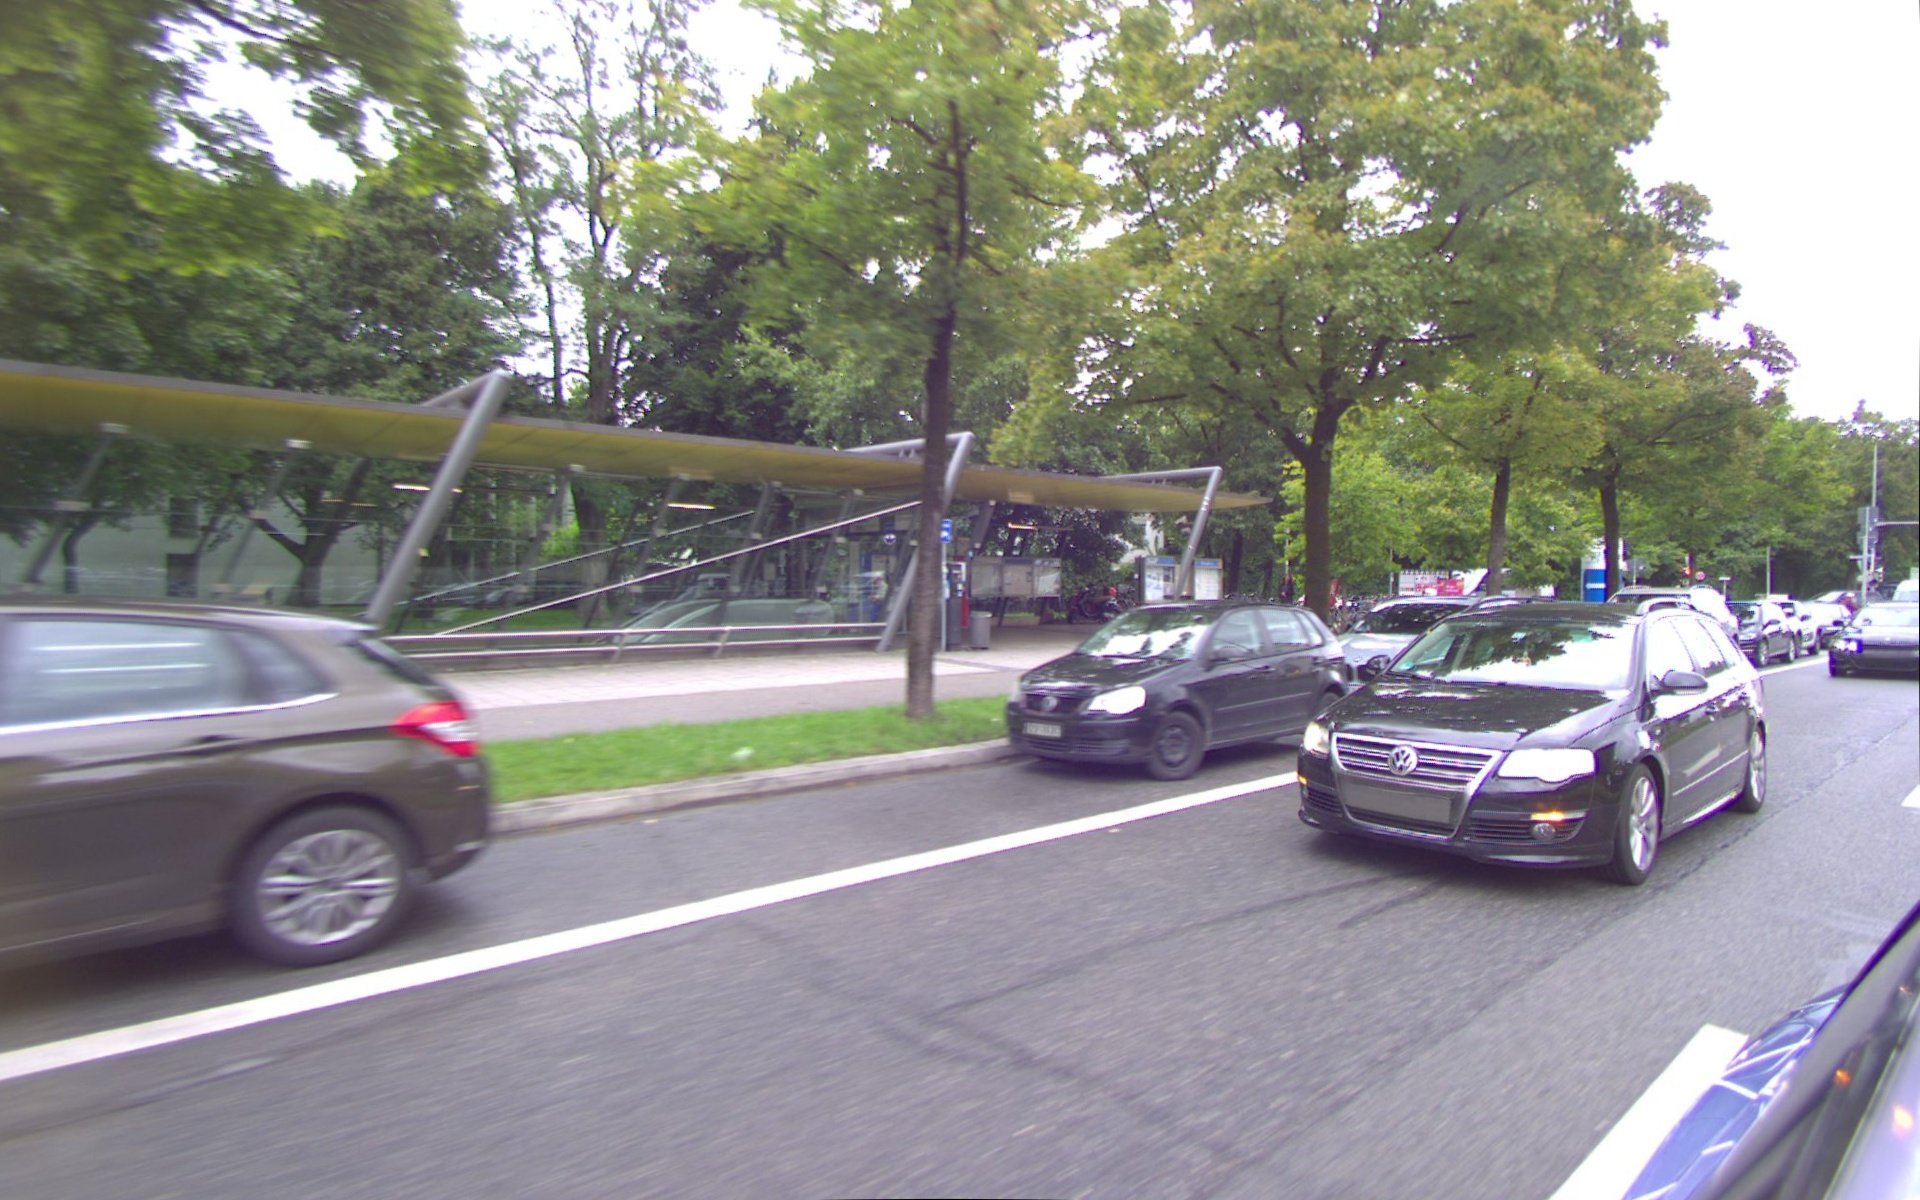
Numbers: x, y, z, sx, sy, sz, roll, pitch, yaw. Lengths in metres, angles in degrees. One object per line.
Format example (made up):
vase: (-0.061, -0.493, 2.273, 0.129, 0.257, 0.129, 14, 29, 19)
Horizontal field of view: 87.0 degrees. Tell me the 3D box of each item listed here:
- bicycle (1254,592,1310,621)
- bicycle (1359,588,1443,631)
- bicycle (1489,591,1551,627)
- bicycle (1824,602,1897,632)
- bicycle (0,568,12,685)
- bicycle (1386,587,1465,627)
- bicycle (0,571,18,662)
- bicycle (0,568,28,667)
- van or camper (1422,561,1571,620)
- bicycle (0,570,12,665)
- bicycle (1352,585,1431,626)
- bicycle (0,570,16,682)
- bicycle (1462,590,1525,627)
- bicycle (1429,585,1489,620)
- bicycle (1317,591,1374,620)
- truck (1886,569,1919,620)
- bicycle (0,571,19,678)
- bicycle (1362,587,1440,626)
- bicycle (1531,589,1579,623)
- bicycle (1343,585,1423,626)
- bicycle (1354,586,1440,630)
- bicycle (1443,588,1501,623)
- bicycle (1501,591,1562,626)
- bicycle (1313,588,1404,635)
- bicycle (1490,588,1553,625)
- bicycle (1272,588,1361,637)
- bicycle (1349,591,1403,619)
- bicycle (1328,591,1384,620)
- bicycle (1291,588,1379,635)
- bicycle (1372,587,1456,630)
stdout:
bicycle: (13.312, 0.248, 41.909, 2.092, 1.168, 0.717, 1, 1, 6)
bicycle: (13.539, 0.264, 31.132, 0.520, 1.171, 2.343, 0, 3, -41)
bicycle: (19.383, 0.291, 35.073, 0.556, 1.156, 1.814, 0, 2, -32)
bicycle: (34.094, 0.646, 38.325, 1.918, 1.094, 0.745, 1, 1, 14)
bicycle: (-11.763, 0.300, 10.705, 2.506, 1.296, 0.646, 0, 1, -41)
bicycle: (15.602, 0.213, 33.959, 0.574, 1.171, 2.343, 0, 3, -41)
bicycle: (-14.611, 0.236, 13.835, 2.506, 1.296, 0.646, 0, 1, -41)
bicycle: (-13.546, 0.232, 12.834, 2.506, 1.296, 0.646, 0, 1, -41)
van or camper: (22.343, -0.386, 42.142, 6.070, 2.325, 2.153, 0, 1, -24)
bicycle: (-14.177, 0.235, 13.278, 2.506, 1.296, 0.646, 0, 1, -41)
bicycle: (14.090, 0.158, 33.122, 0.574, 1.171, 2.343, 0, 3, -41)
bicycle: (-12.197, 0.299, 11.218, 2.506, 1.296, 0.646, 0, 1, -41)
bicycle: (18.322, 0.289, 34.774, 0.556, 1.156, 1.812, 0, 2, -35)
bicycle: (18.849, 0.097, 38.283, 1.936, 1.227, 0.559, 3, 2, 38)
bicycle: (16.003, 0.236, 42.036, 2.090, 1.168, 0.718, 1, 1, 4)
truck: (51.906, -0.326, 53.996, 7.087, 2.636, 2.001, -1, 1, -33)
bicycle: (-12.640, 0.297, 11.738, 2.506, 1.296, 0.646, 0, 1, -41)
bicycle: (14.775, 0.200, 33.946, 0.574, 1.171, 2.343, 0, 3, -41)
bicycle: (22.698, 0.220, 38.606, 1.963, 1.213, 0.864, 0, 2, -37)
bicycle: (13.645, 0.161, 32.720, 0.574, 1.171, 2.343, 0, 3, -41)
bicycle: (13.214, 0.215, 30.681, 0.520, 1.171, 2.343, 0, 3, -41)
bicycle: (18.736, 0.192, 37.090, 0.556, 1.156, 1.812, 0, 2, -35)
bicycle: (20.378, 0.284, 36.128, 1.803, 1.156, 0.559, 3, 2, 38)
bicycle: (11.401, 0.313, 29.028, 2.337, 1.171, 0.521, 4, 3, 41)
bicycle: (20.463, 0.228, 36.906, 1.936, 1.227, 0.559, 3, 2, 38)
bicycle: (9.818, 0.323, 27.953, 0.520, 1.171, 2.343, 0, 3, -41)
bicycle: (18.414, 0.220, 44.837, 2.088, 1.168, 0.719, 1, 1, 0)
bicycle: (16.908, 0.230, 43.202, 2.088, 1.168, 0.719, 1, 1, 0)
bicycle: (10.575, 0.297, 28.614, 0.520, 1.171, 2.343, 0, 3, -41)
bicycle: (14.038, 0.241, 31.382, 0.520, 1.171, 2.343, 0, 3, -41)
